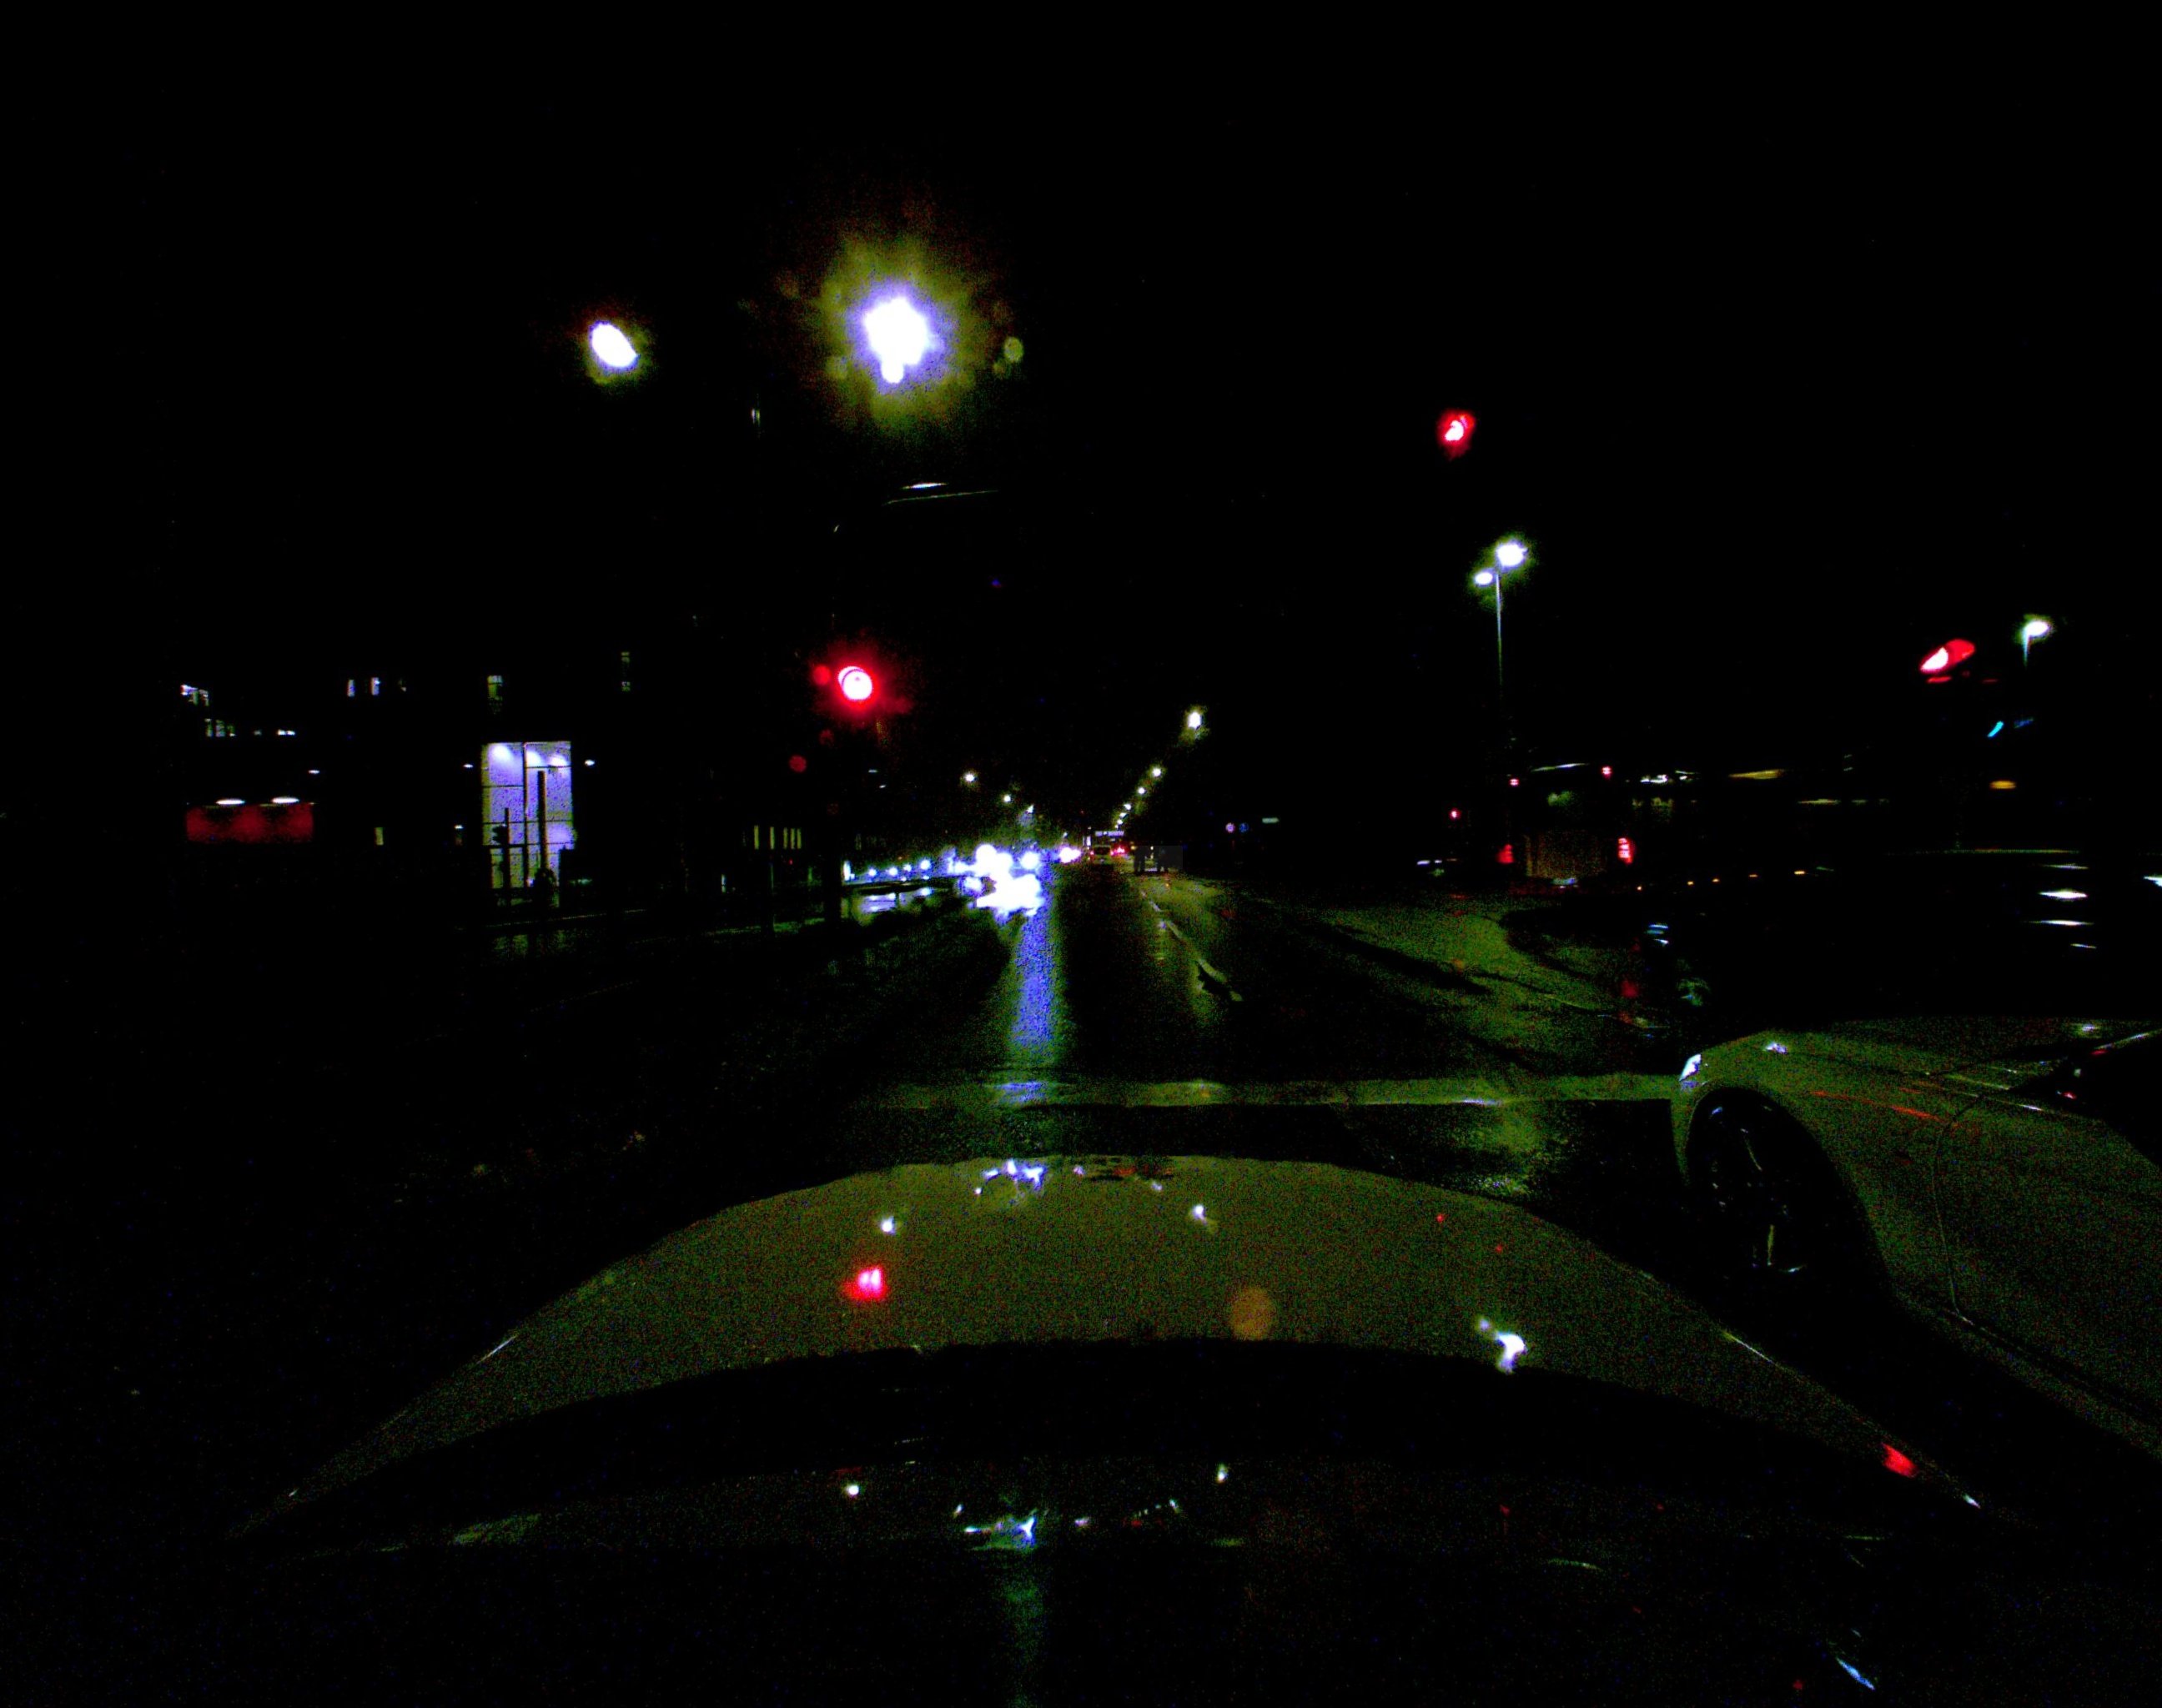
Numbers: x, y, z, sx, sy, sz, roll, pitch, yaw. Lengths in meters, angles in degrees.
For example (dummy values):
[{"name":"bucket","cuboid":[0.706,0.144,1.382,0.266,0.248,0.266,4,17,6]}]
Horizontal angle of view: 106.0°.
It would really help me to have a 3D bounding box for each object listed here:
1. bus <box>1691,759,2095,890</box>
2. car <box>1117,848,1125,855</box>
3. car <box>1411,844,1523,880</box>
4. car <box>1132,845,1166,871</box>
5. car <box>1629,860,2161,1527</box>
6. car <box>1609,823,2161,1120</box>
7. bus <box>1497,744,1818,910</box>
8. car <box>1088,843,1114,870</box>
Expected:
[{"name":"bus","cuboid":[21.637,-0.758,21.806,9.735,3.123,2.767,-1,0,-12]},{"name":"car","cuboid":[10.817,-0.586,220.799,1.986,1.759,4.001,0,-1,2]},{"name":"car","cuboid":[16.413,0.349,34.861,4.107,1.487,1.805,-1,-1,17]},{"name":"car","cuboid":[4.559,0.277,54.878,1.786,1.679,4.425,0,-1,-2]},{"name":"car","cuboid":[3.129,0.715,1.278,1.710,1.404,4.351,0,-1,2]},{"name":"car","cuboid":[6.242,0.593,5.857,1.832,1.478,4.626,0,-1,-1]},{"name":"bus","cuboid":[13.874,-0.545,19.165,9.798,3.123,2.749,-1,0,-33]},{"name":"car","cuboid":[1.464,0.188,58.899,1.784,1.874,4.628,0,-1,1]}]
